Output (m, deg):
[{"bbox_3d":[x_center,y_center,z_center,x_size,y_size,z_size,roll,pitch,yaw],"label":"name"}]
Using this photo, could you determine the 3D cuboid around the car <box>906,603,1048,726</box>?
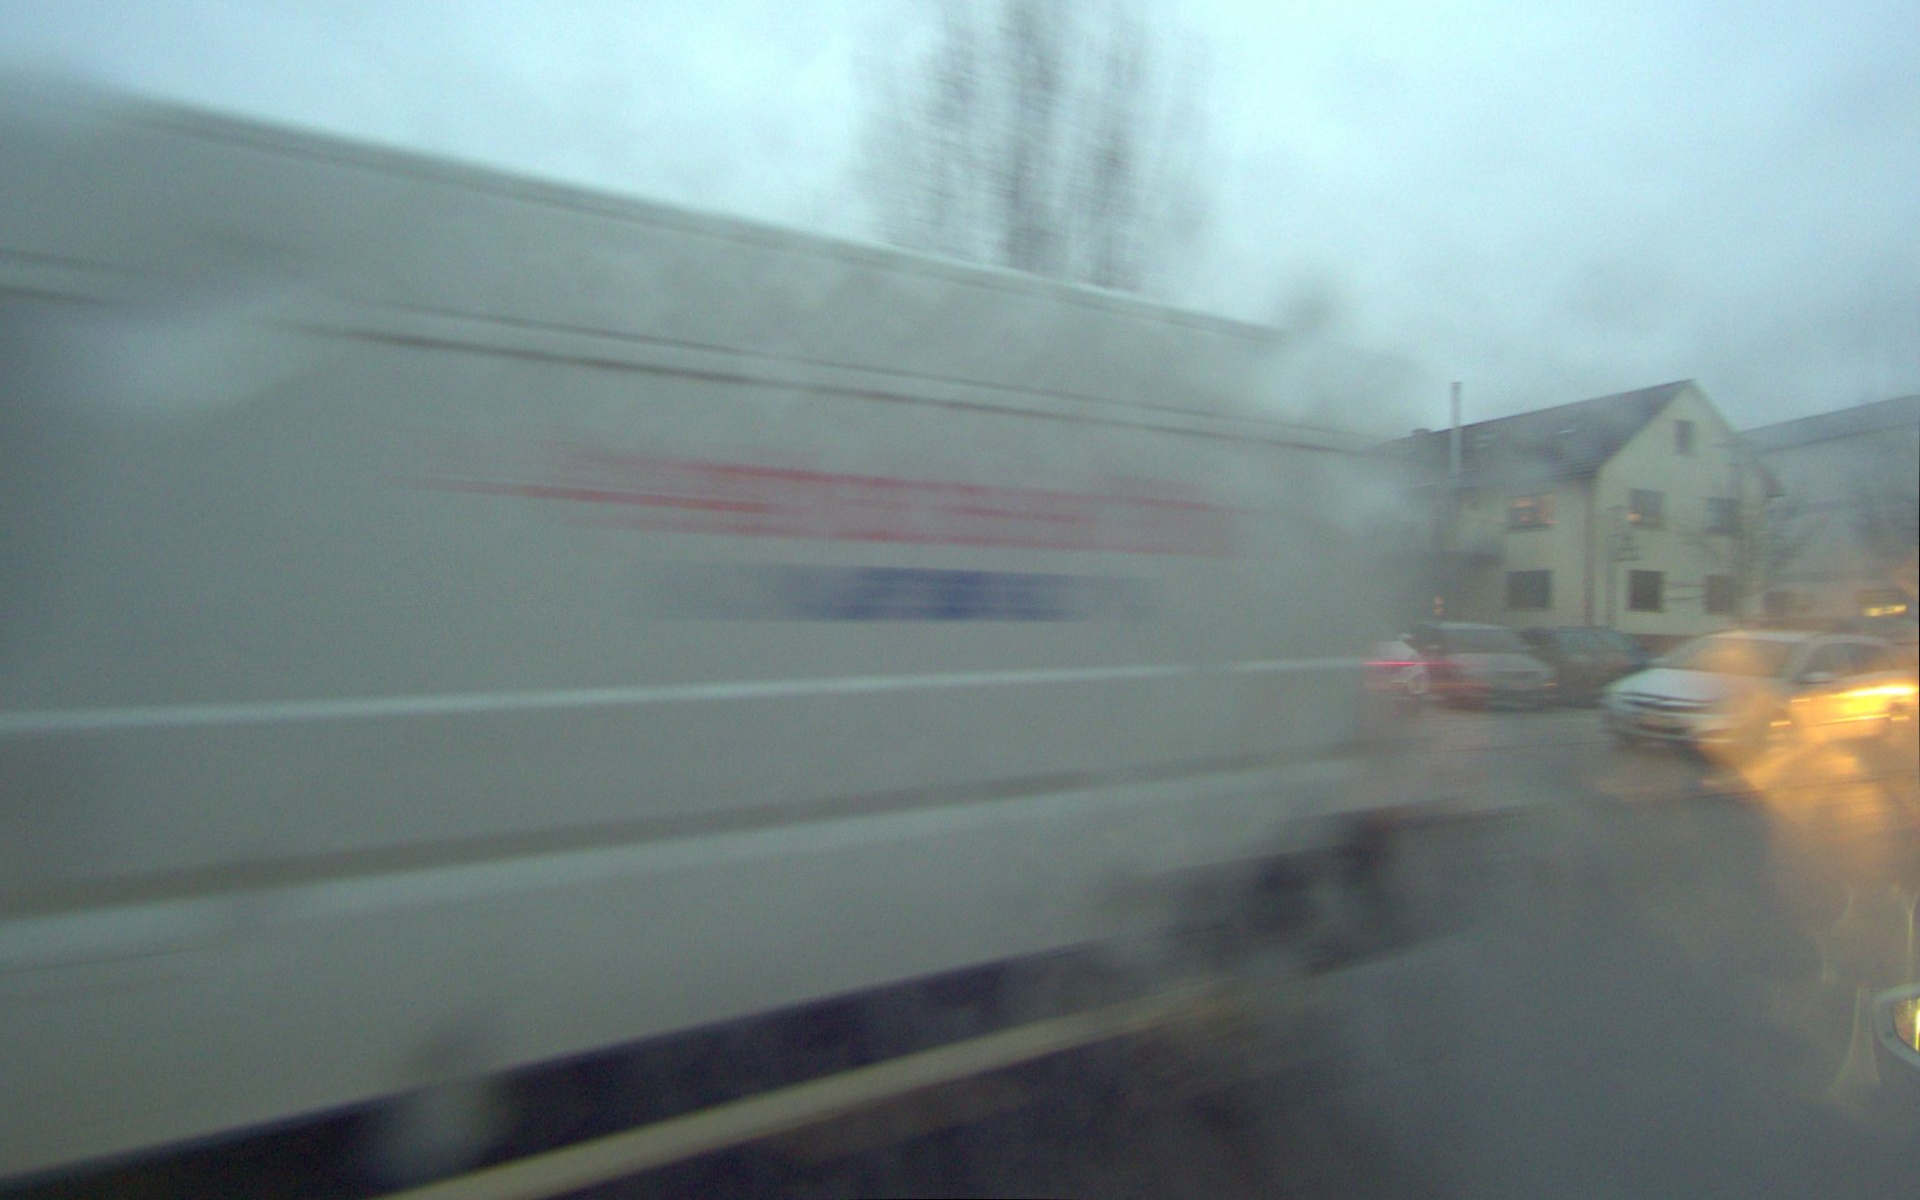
[{"bbox_3d":[0.286,0.861,14.380,1.722,1.478,4.076,1,-2,2],"label":"car"}]

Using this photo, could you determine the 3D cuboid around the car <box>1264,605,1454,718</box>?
[{"bbox_3d":[6.723,1.013,17.478,1.947,1.675,4.660,1,-2,7],"label":"car"}]

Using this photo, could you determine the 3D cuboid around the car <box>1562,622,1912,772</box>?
[{"bbox_3d":[9.547,1.058,12.302,4.203,1.554,1.897,1,-1,-29],"label":"car"}]

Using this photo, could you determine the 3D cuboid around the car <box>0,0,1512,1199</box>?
[{"bbox_3d":[-1.268,0.188,2.772,6.073,2.523,2.183,1,-2,-32],"label":"car"}]

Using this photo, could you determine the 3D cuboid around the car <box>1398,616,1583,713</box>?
[{"bbox_3d":[9.706,1.172,18.751,1.686,1.603,4.117,0,-3,7],"label":"car"}]

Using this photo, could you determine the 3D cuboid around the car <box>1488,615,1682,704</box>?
[{"bbox_3d":[12.119,1.099,19.817,1.959,1.550,4.003,0,-1,11],"label":"car"}]

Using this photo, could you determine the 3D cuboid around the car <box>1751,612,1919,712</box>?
[{"bbox_3d":[19.648,1.305,21.605,2.032,1.910,5.402,-1,-3,14],"label":"car"}]
